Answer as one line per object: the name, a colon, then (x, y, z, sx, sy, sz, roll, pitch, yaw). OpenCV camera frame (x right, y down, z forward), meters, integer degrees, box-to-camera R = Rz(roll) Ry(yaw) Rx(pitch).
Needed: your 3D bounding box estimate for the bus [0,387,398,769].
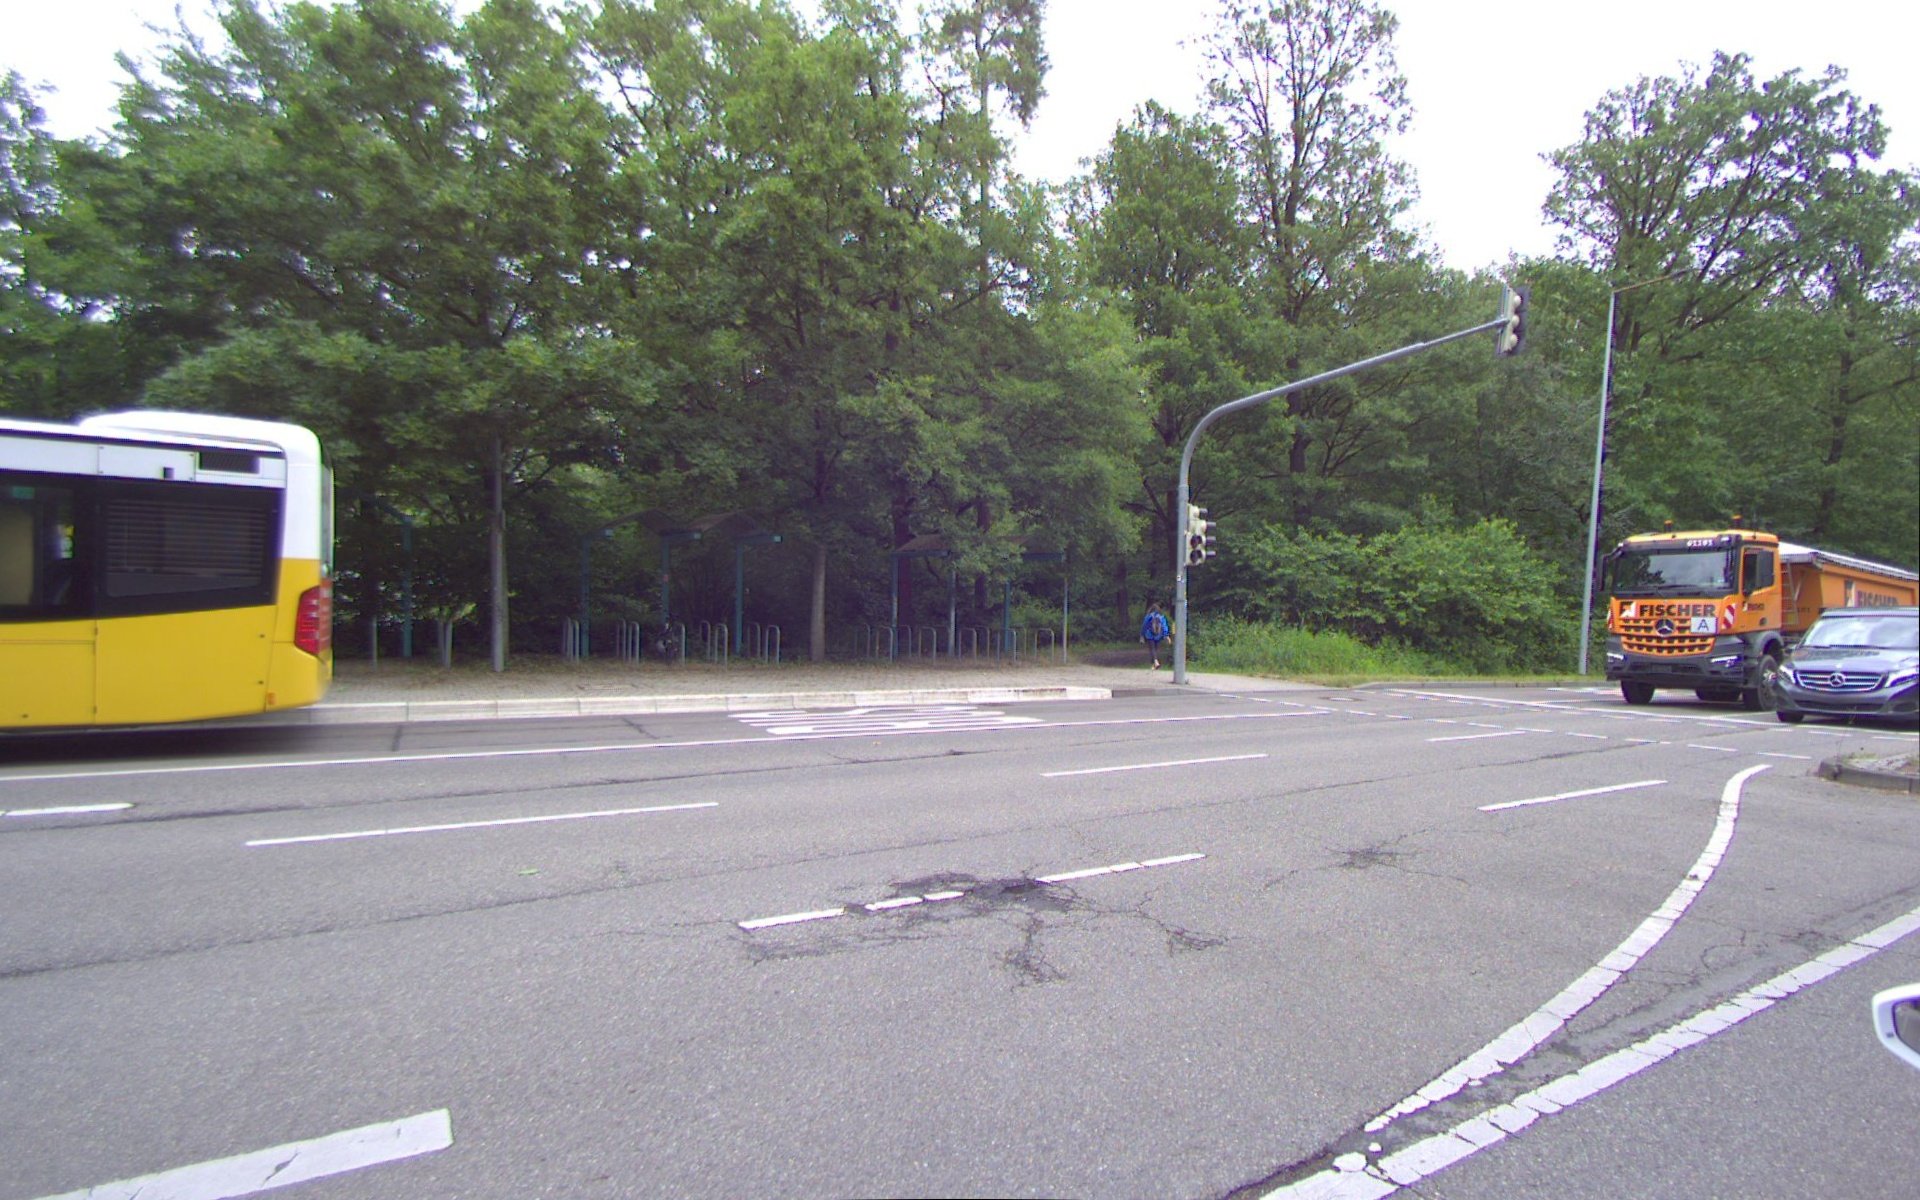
bus: (-9.912, -0.227, 8.866, 8.592, 3.168, 2.885, 1, 0, -30)

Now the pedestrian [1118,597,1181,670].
pedestrian: (4.656, 0.806, 24.738, 1.055, 1.671, 1.043, 0, 4, -28)

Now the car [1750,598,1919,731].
car: (15.236, 1.024, 16.677, 4.789, 1.918, 1.981, 2, -2, -34)

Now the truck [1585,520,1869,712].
truck: (15.988, 0.435, 20.760, 7.090, 3.362, 2.721, 3, -2, -36)

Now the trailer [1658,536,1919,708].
trailer: (19.432, 0.604, 23.229, 8.486, 3.362, 2.720, 3, -2, -36)
